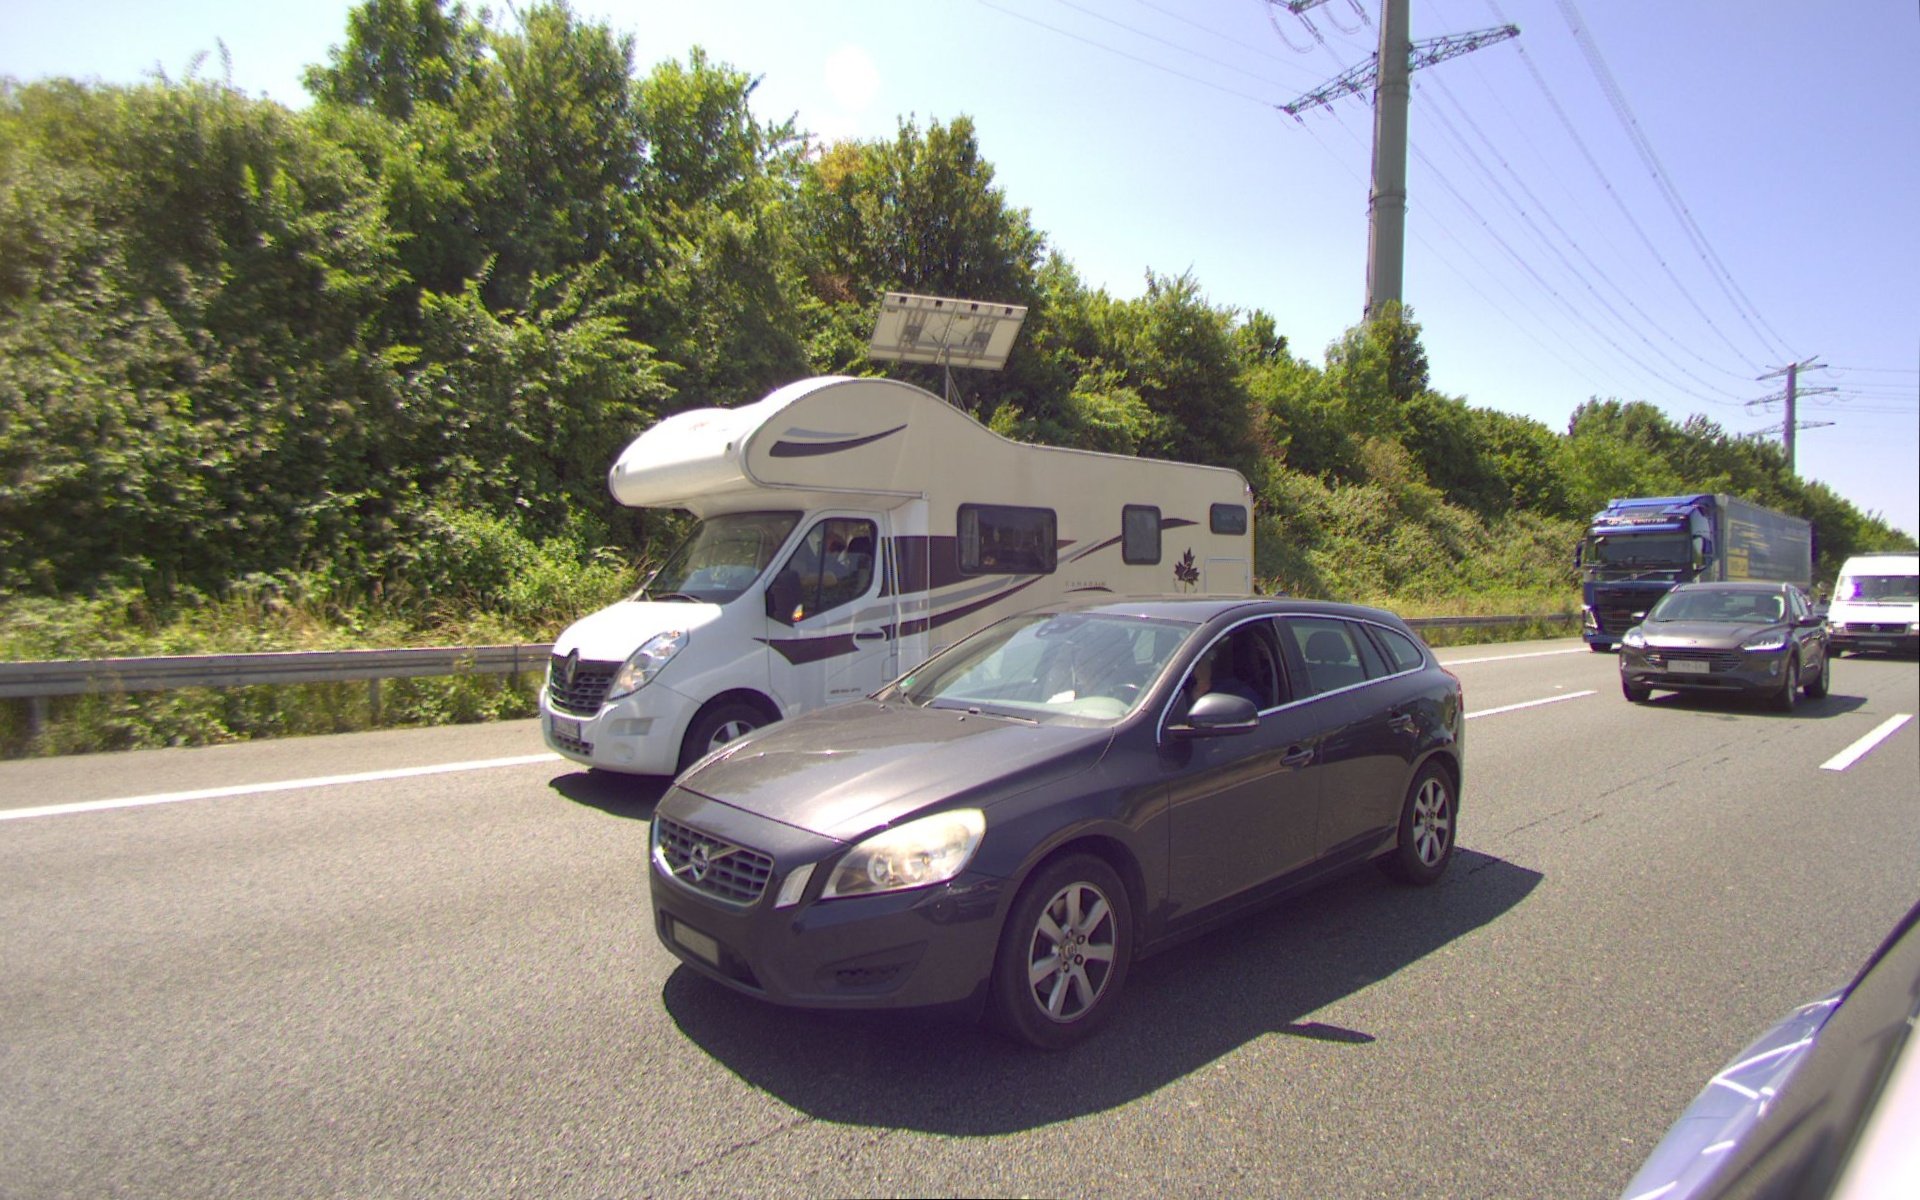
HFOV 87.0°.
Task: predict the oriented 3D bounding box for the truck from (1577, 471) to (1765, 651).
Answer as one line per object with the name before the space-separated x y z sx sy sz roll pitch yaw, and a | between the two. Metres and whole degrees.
truck | 18.649 -0.945 26.443 5.539 4.197 2.789 -1 0 -41

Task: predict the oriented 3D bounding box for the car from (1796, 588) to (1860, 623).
car | 40.278 0.226 46.922 3.806 1.538 1.719 -1 0 -41

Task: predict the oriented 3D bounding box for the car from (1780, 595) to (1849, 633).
car | 37.288 0.580 44.122 3.806 1.538 1.719 -1 0 -41

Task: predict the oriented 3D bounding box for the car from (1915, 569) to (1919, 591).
car | 69.377 -1.424 71.993 3.806 1.538 1.719 -1 0 -41

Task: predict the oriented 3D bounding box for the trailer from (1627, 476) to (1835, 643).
trailer | 24.301 -1.121 31.473 12.656 4.317 2.771 -1 0 -42

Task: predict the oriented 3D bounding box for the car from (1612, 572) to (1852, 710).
car | 10.829 0.463 14.091 4.147 1.631 1.891 -1 0 -42

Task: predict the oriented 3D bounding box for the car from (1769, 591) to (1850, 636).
car | 31.168 0.458 37.105 3.806 1.538 1.719 -1 0 -41

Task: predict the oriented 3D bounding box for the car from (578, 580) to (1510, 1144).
car | 0.757 0.641 4.736 4.432 1.437 1.797 -1 0 -42

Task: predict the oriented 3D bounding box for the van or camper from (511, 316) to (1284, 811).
van or camper | 0.000 -0.273 9.676 7.500 3.082 2.372 -1 0 -41

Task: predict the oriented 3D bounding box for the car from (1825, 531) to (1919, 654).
car | 23.665 -0.210 25.423 6.590 2.753 2.040 -1 0 -42
